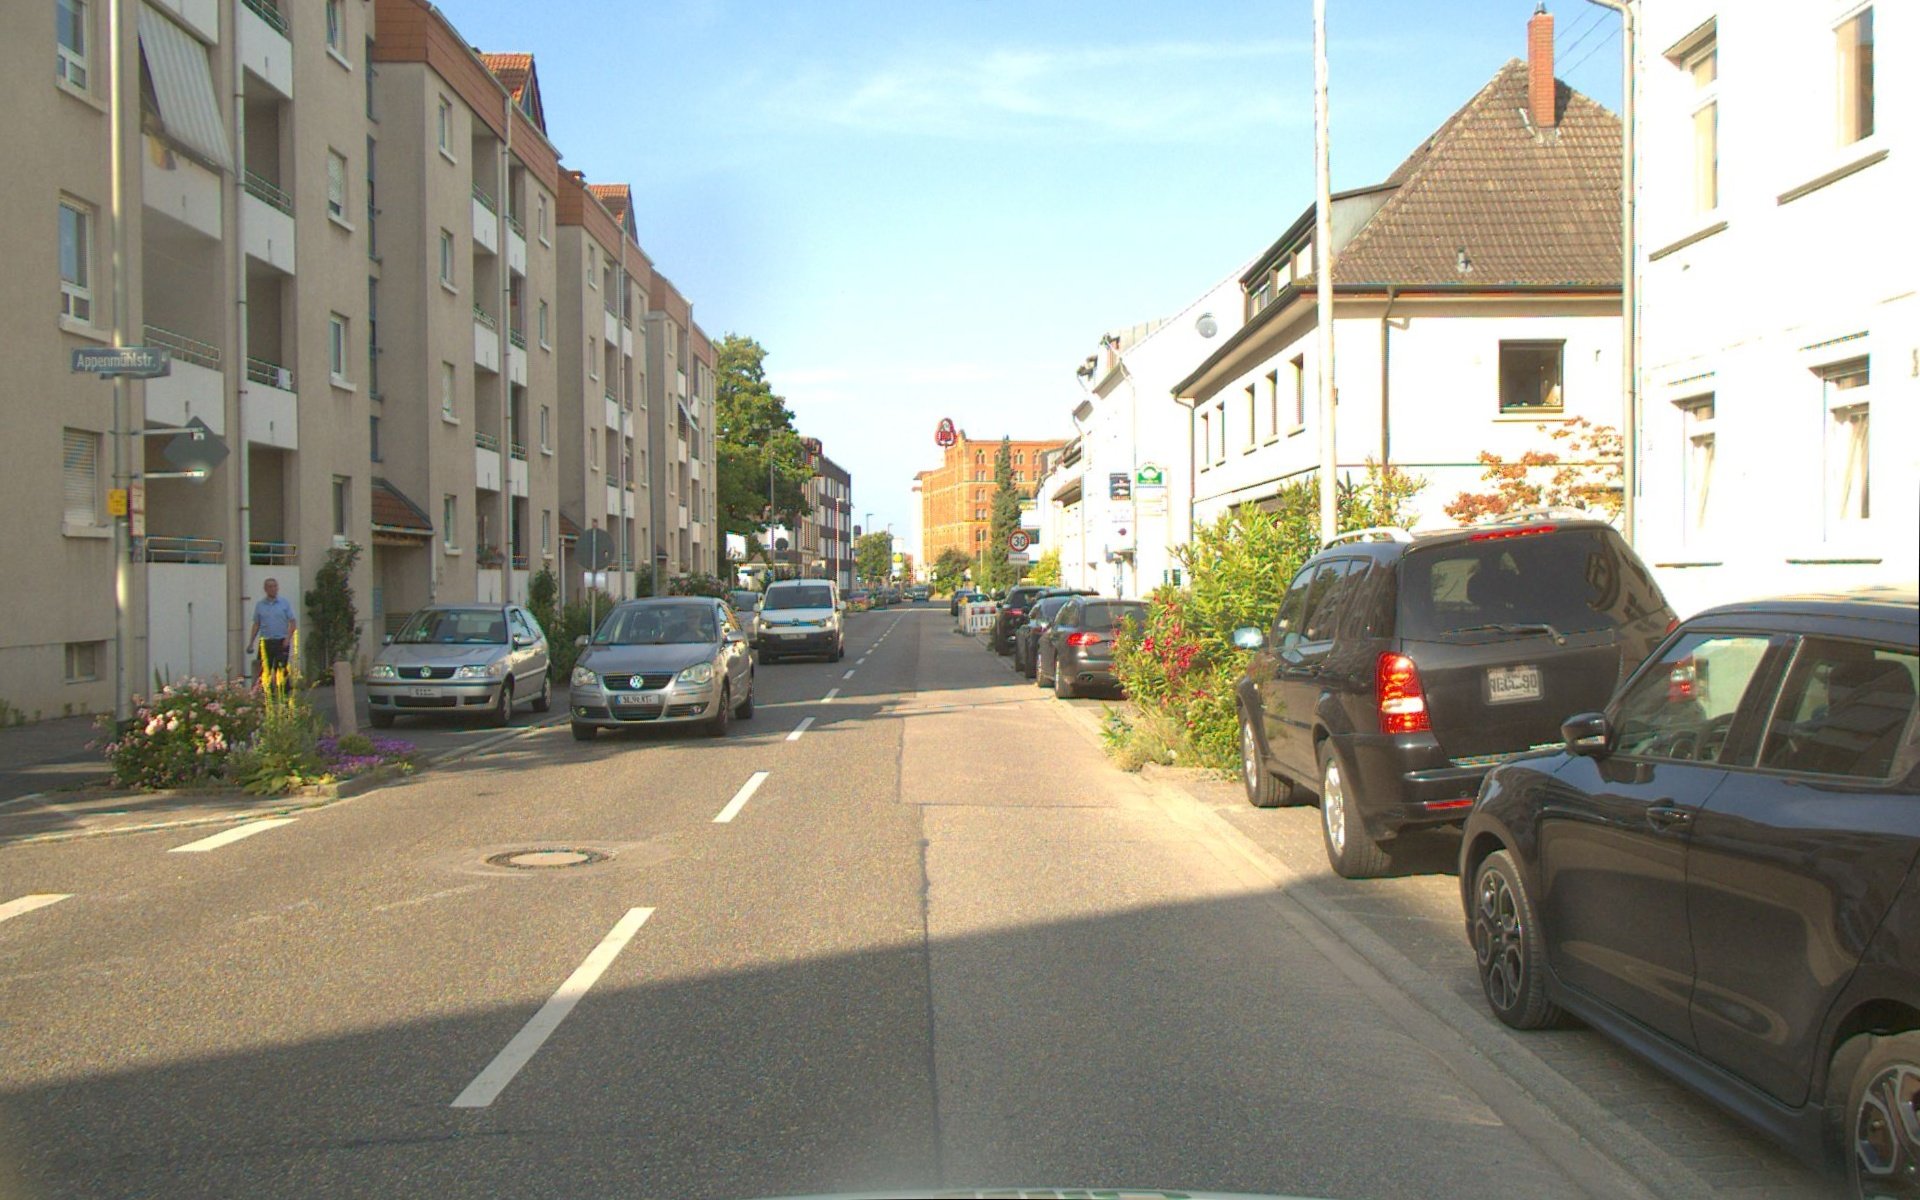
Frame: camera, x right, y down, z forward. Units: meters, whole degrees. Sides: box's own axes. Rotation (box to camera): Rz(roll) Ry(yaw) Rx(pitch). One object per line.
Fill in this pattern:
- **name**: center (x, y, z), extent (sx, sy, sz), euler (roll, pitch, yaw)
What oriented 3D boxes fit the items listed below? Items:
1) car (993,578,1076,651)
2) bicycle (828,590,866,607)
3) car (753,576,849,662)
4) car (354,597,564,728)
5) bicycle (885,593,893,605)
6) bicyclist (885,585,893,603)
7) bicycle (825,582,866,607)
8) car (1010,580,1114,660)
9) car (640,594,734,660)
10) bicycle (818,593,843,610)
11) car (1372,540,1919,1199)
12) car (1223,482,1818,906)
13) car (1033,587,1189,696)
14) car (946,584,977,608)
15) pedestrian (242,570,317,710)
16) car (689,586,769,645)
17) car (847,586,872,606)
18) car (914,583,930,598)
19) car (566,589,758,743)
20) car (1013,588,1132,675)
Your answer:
- **car**: center (1.795, 0.380, 41.019), extent (1.792, 1.659, 4.462), euler (2, -1, 0)
- **bicycle**: center (-8.324, -0.103, 121.968), extent (2.716, 1.164, 1.143), euler (-1, 0, -1)
- **car**: center (-3.529, 0.369, 37.332), extent (1.883, 1.798, 4.336), euler (-1, 1, -2)
- **car**: center (-6.011, 0.691, 20.239), extent (1.607, 1.420, 3.669), euler (0, 1, -3)
- **bicycle**: center (-5.742, -0.090, 134.091), extent (0.596, 0.959, 1.811), euler (0, 1, 0)
- **bicyclist**: center (-5.753, -0.490, 134.127), extent (0.579, 1.467, 0.750), euler (0, 0, -1)
- **bicycle**: center (-8.296, -0.395, 120.195), extent (2.858, 1.808, 1.202), euler (-1, 0, -1)
- **car**: center (2.136, 0.380, 35.769), extent (1.793, 1.587, 4.315), euler (-1, 0, -2)
- **car**: center (-6.347, 0.589, 38.791), extent (1.652, 1.430, 4.082), euler (0, 1, -2)
- **bicycle**: center (-8.222, 0.102, 104.952), extent (1.554, 1.059, 0.707), euler (-1, 0, -7)
- **car**: center (2.681, 0.623, 4.997), extent (1.557, 1.555, 4.612), euler (-2, 0, -2)
- **car**: center (2.955, 0.390, 9.943), extent (2.033, 1.888, 4.611), euler (-2, 1, 1)
- **car**: center (2.155, 0.552, 24.760), extent (1.743, 1.445, 4.494), euler (-1, 1, -2)
- **car**: center (0.095, -0.261, 104.933), extent (1.821, 1.497, 3.999), euler (1, 0, -2)
- **pedestrian**: center (-9.129, 0.519, 22.215), extent (0.704, 1.850, 0.745), euler (0, 1, -1)
- **car**: center (-6.513, 0.394, 46.936), extent (1.691, 1.582, 3.965), euler (0, 1, 0)
- **car**: center (-7.904, -0.344, 129.894), extent (1.803, 1.489, 3.584), euler (0, 1, -1)
- **car**: center (-4.254, -1.044, 186.652), extent (1.728, 1.644, 3.999), euler (-1, 1, -1)
- **car**: center (-3.210, 0.644, 18.414), extent (1.585, 1.480, 3.684), euler (-1, 1, -2)
- **car**: center (1.999, 0.523, 30.570), extent (1.793, 1.445, 4.608), euler (-1, 1, -1)
